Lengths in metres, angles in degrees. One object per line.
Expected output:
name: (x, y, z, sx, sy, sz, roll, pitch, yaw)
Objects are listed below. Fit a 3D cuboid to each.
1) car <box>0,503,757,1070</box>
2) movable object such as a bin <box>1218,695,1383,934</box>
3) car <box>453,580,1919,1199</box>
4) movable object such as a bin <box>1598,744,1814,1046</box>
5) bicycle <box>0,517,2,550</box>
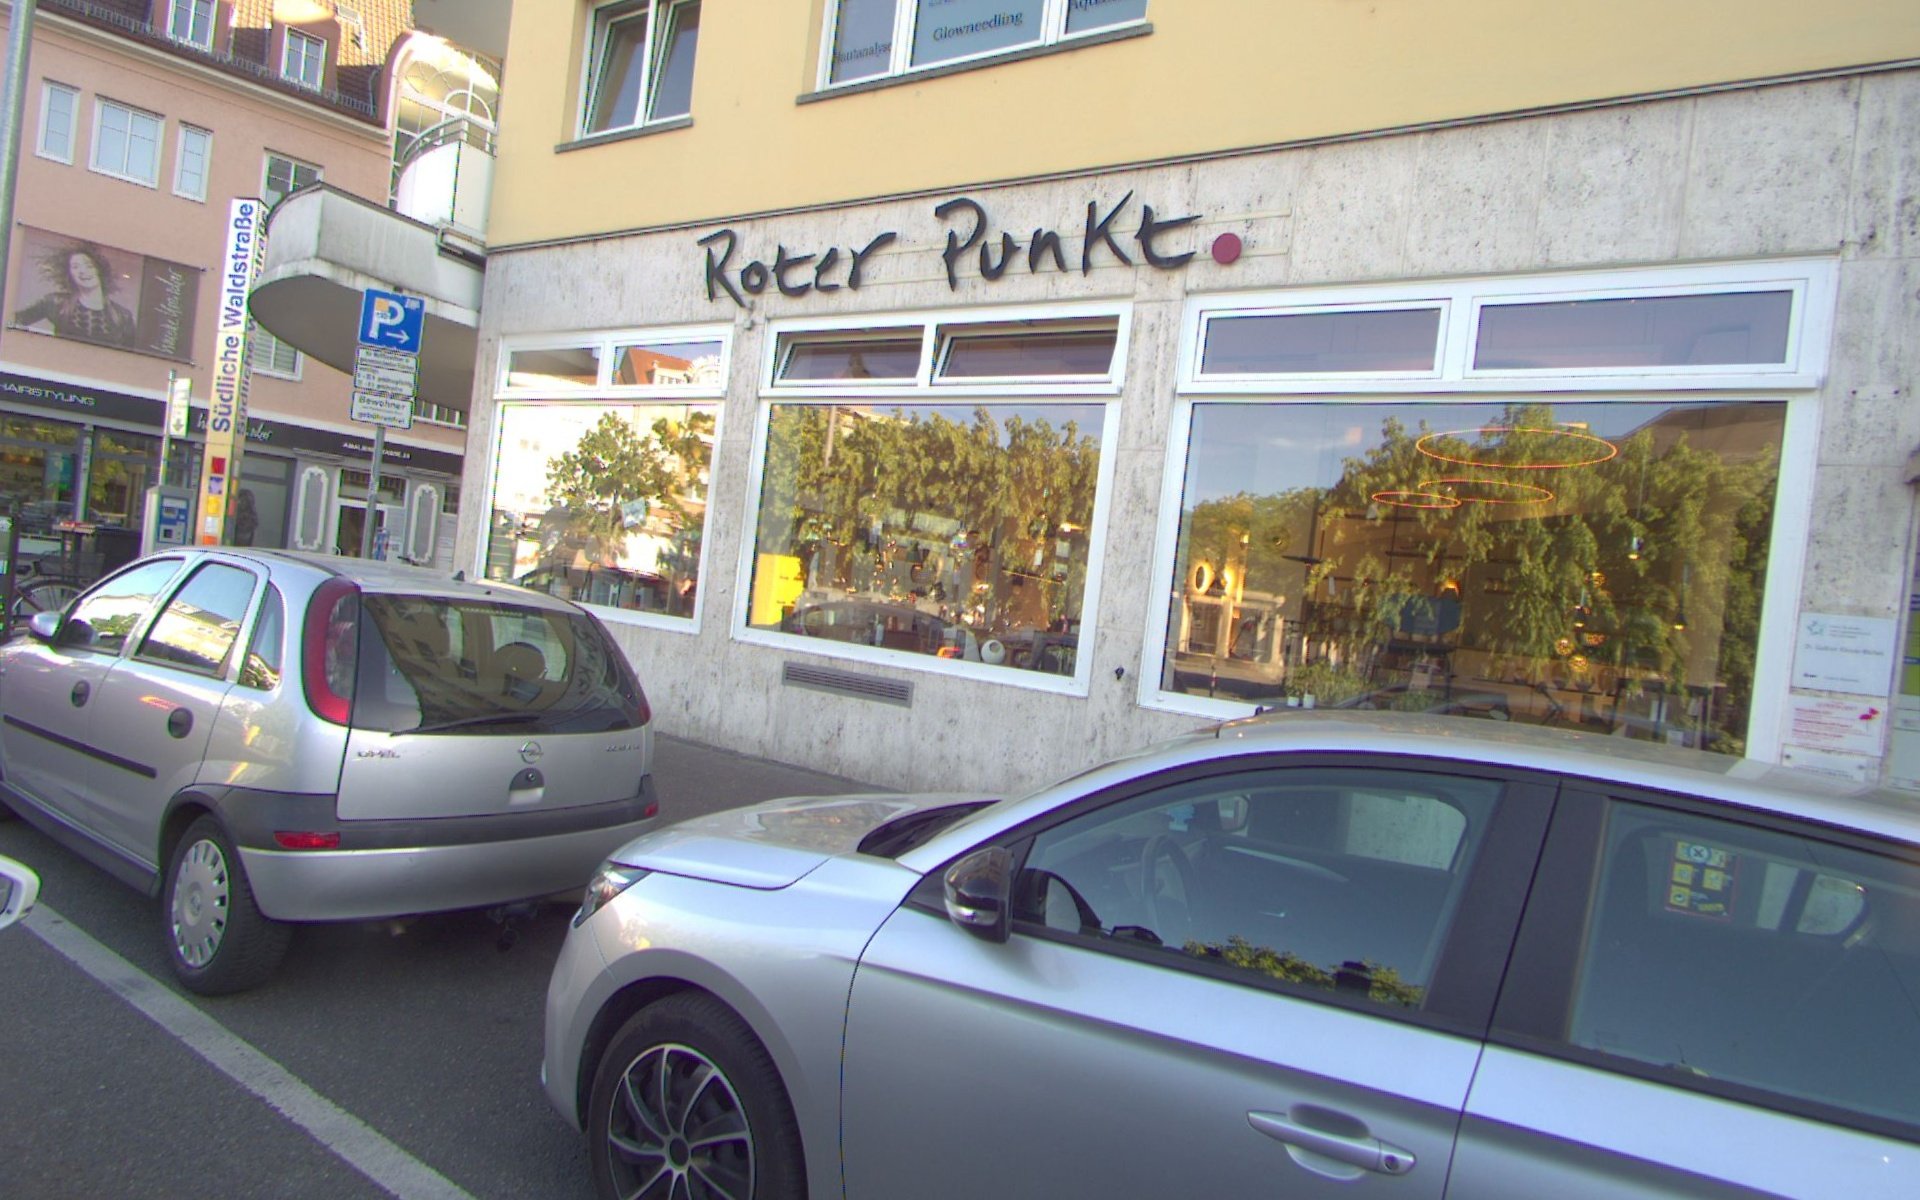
car: (-2.930, 0.458, 4.437, 3.822, 1.411, 1.624, 7, -1, 33)
movable object such as a bin: (1.866, 1.116, 5.480, 0.609, 1.082, 0.703, 7, 3, 31)
car: (0.960, 0.937, 2.195, 4.008, 1.444, 1.673, 7, -1, 30)
movable object such as a bin: (3.333, 1.275, 4.567, 0.609, 1.082, 0.703, 7, 3, 31)
bicycle: (-9.309, -0.226, 8.521, 0.425, 1.175, 1.629, 7, 1, 30)
